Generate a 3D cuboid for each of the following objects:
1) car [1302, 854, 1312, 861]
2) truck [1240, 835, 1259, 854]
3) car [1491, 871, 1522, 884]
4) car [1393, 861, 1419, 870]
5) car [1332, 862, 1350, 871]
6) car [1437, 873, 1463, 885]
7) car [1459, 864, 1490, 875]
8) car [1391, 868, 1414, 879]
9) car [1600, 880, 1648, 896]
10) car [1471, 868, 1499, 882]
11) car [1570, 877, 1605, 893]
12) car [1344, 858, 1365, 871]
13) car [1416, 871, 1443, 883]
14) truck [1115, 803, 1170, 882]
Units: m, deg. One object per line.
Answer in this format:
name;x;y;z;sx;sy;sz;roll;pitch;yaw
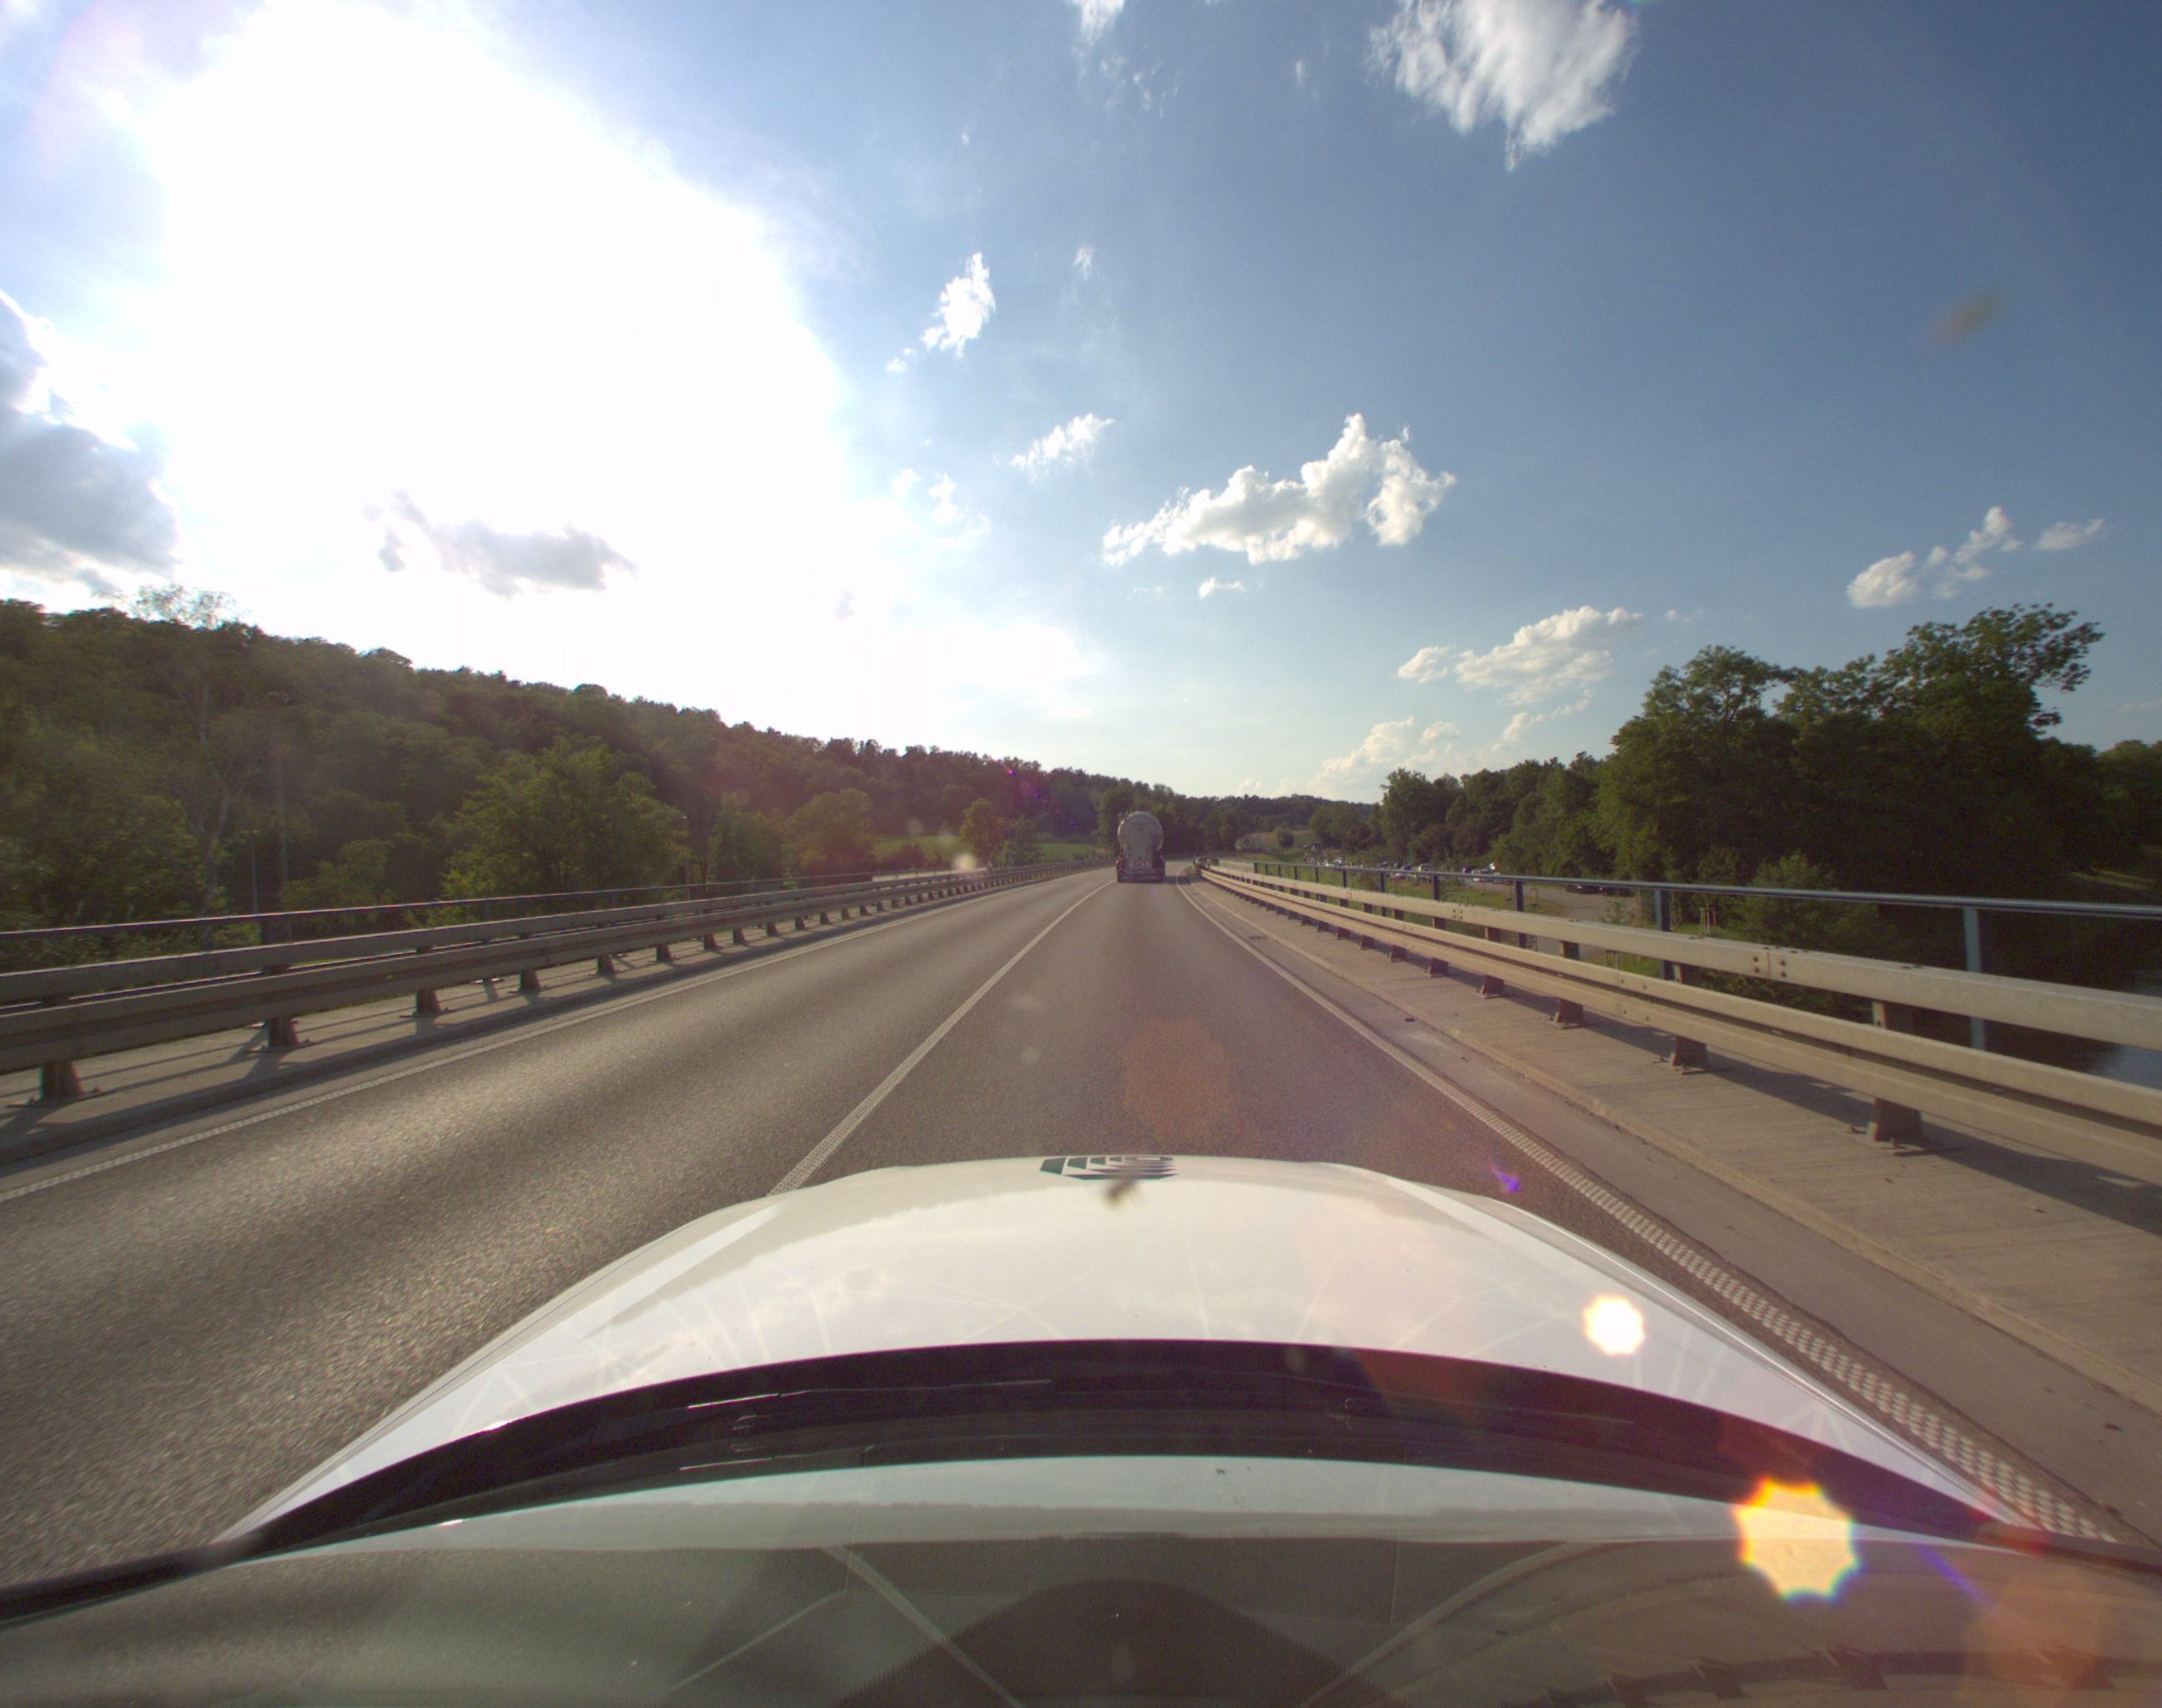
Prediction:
car;60.337;0.878;217.393;1.876;1.559;4.807;-5;1;20
truck;40.937;-2.376;197.547;3.158;4.227;13.235;-2;1;18
car;54.540;2.988;104.438;1.649;1.496;4.222;-2;0;0
car;60.839;2.175;152.552;4.218;1.604;1.834;-1;0;1
car;50.954;2.441;159.638;1.885;1.482;4.785;-5;1;2
car;49.595;3.333;109.512;1.649;1.496;4.222;-2;0;0
car;62.323;2.404;128.941;4.226;1.456;1.615;-2;1;-5
car;50.159;2.986;127.123;1.813;1.482;4.253;-3;1;-2
car;54.235;3.396;81.319;1.668;1.496;3.641;-1;-1;-40
car;54.823;2.825;110.554;1.648;1.666;4.711;-2;0;3
car;53.457;3.246;86.019;1.645;1.496;3.838;-2;0;9
car;50.667;1.982;151.221;2.111;2.017;5.382;-5;1;2
car;49.556;3.231;115.956;1.813;1.401;4.253;-3;1;-2
truck;3.967;-0.582;49.682;2.878;4.142;13.195;-1;0;6
